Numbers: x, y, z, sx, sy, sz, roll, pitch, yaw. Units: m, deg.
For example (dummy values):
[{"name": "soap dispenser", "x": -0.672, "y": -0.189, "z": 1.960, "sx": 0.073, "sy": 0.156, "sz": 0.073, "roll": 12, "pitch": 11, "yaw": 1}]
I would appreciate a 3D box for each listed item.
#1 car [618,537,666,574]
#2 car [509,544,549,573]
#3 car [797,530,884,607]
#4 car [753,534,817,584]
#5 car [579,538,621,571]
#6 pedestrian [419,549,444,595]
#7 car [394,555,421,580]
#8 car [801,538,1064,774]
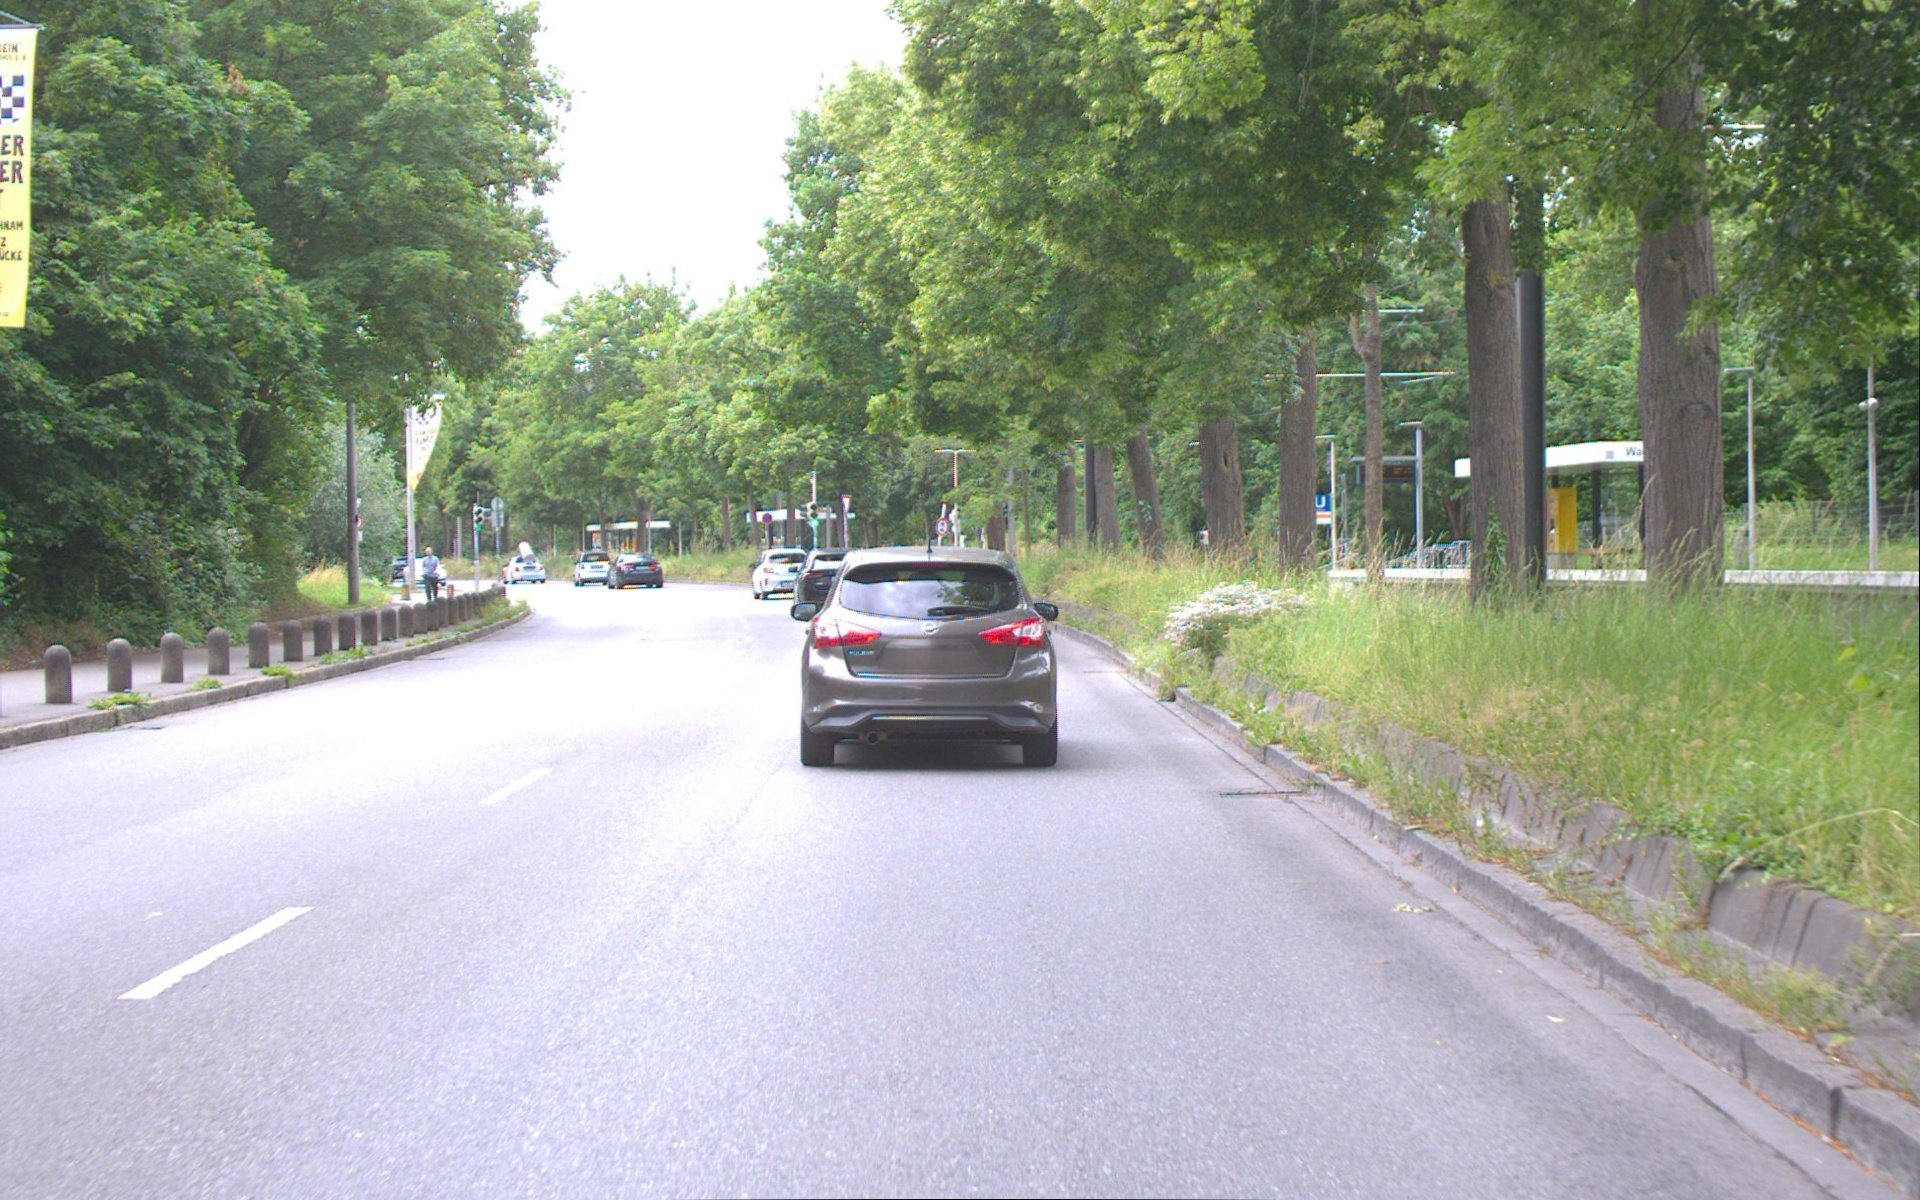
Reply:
[{"name": "car", "x": -12.954, "y": -1.823, "z": 140.044, "sx": 1.561, "sy": 1.436, "sz": 3.553, "roll": 0, "pitch": 1, "yaw": -12}, {"name": "car", "x": -22.339, "y": -2.150, "z": 178.270, "sx": 1.561, "sy": 1.436, "sz": 3.553, "roll": 0, "pitch": 1, "yaw": -15}, {"name": "car", "x": -2.458, "y": -0.675, "z": 71.281, "sx": 1.730, "sy": 1.532, "sz": 3.552, "roll": 1, "pitch": 1, "yaw": -1}, {"name": "car", "x": -5.216, "y": -1.222, "z": 102.138, "sx": 1.561, "sy": 1.436, "sz": 3.553, "roll": 0, "pitch": 1, "yaw": -8}, {"name": "car", "x": -16.238, "y": -2.063, "z": 154.984, "sx": 1.561, "sy": 1.436, "sz": 3.553, "roll": 0, "pitch": 1, "yaw": -12}, {"name": "pedestrian", "x": -15.678, "y": -0.829, "z": 101.947, "sx": 0.720, "sy": 1.364, "sz": 0.654, "roll": 0, "pitch": 1, "yaw": -8}, {"name": "car", "x": -33.620, "y": -1.996, "z": 209.183, "sx": 1.561, "sy": 1.436, "sz": 3.553, "roll": 0, "pitch": 1, "yaw": -11}, {"name": "car", "x": -0.222, "y": 0.340, "z": 24.582, "sx": 1.730, "sy": 1.532, "sz": 3.552, "roll": 1, "pitch": 1, "yaw": -1}]
